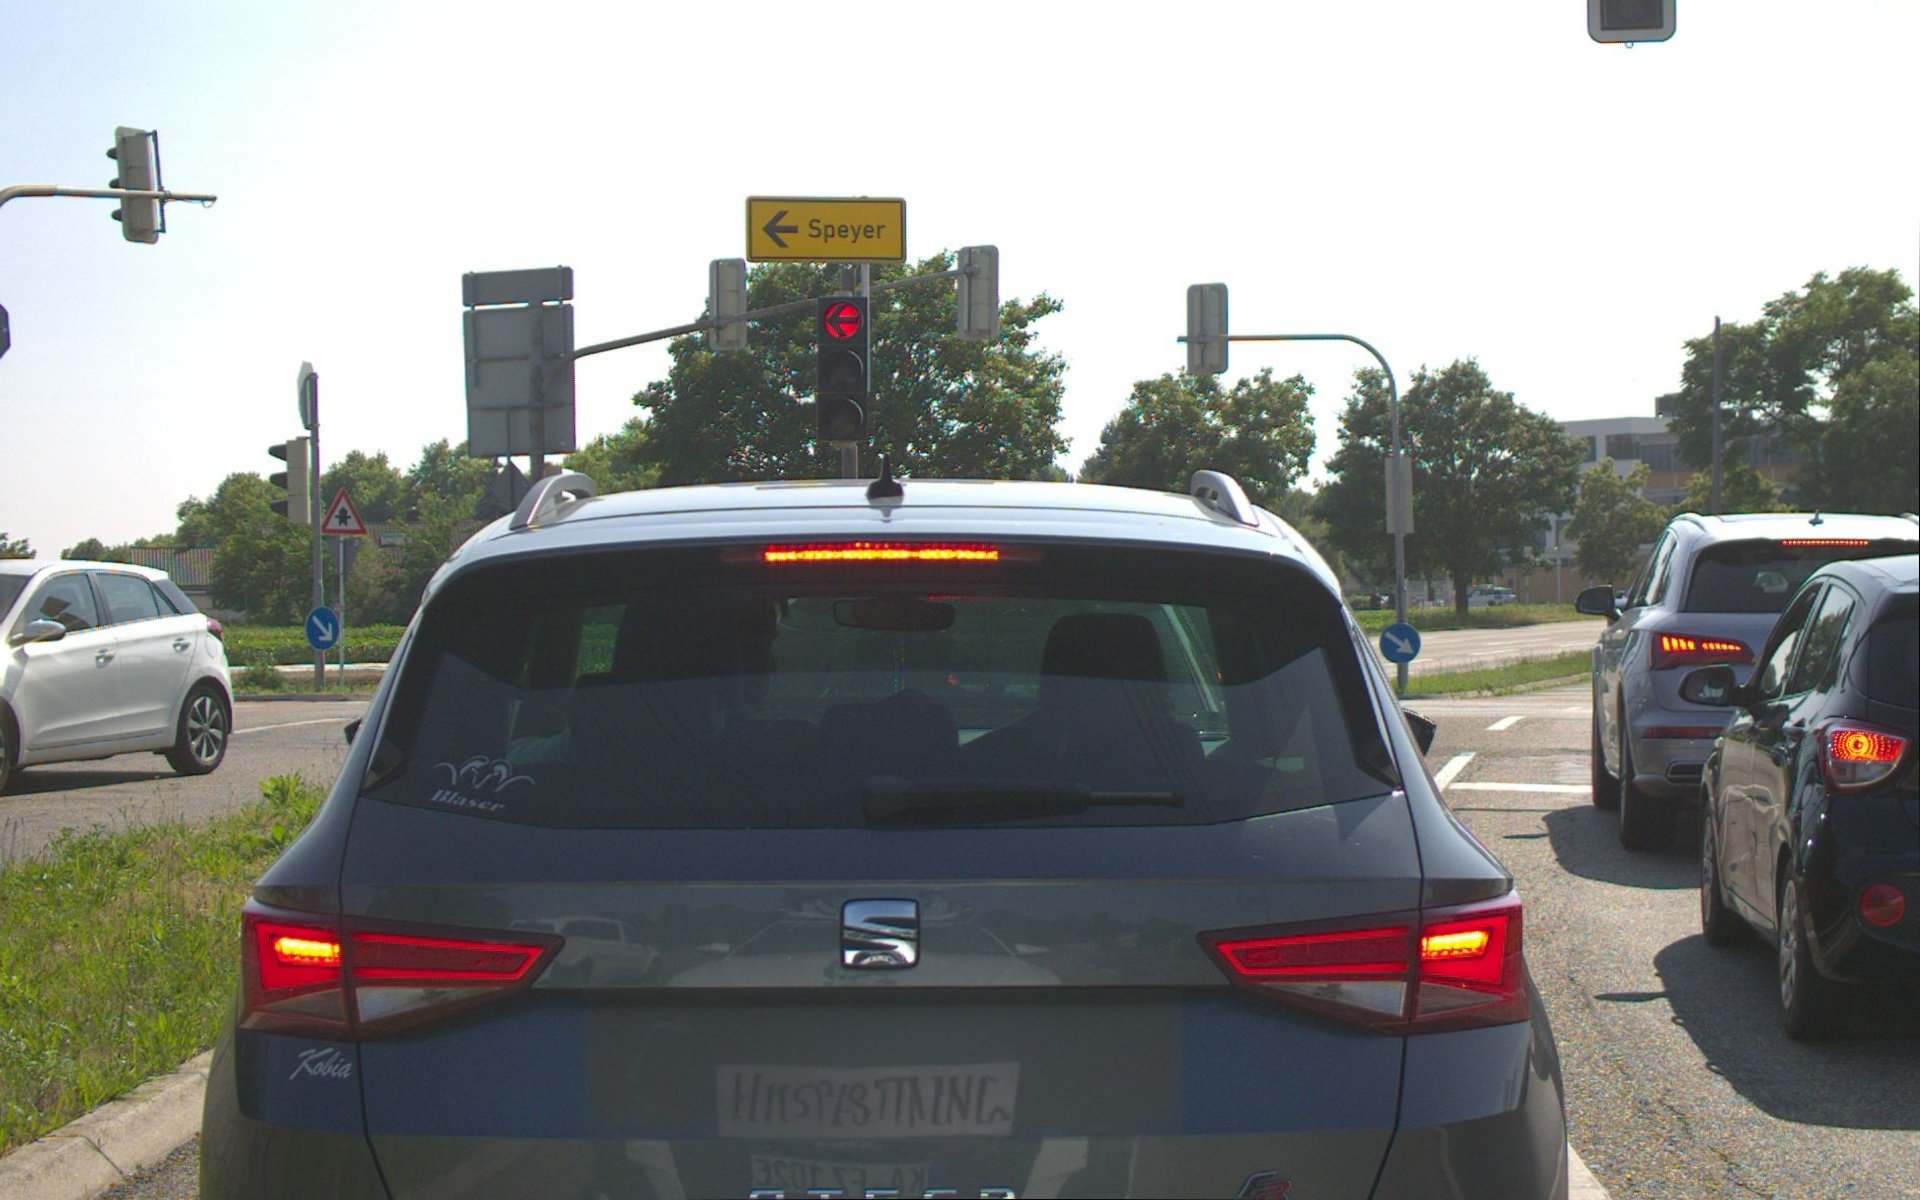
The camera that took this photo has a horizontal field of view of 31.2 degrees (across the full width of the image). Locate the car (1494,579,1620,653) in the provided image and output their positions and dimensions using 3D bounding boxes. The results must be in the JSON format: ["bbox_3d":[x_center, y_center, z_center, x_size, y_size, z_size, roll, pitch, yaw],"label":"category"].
[{"bbox_3d":[14.037,0.365,80.722,1.879,1.667,3.764,1,1,26],"label":"car"}]

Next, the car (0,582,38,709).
[{"bbox_3d":[-14.381,0.611,45.553,3.993,1.645,1.817,0,0,28],"label":"car"}]

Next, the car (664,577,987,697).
[{"bbox_3d":[-1.781,0.480,45.586,3.872,1.514,1.805,0,1,24],"label":"car"}]

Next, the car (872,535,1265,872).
[{"bbox_3d":[0.633,0.450,17.264,1.742,1.479,3.623,1,0,5],"label":"car"}]

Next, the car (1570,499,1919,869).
[{"bbox_3d":[4.080,0.364,17.560,1.633,1.671,3.749,1,1,6],"label":"car"}]

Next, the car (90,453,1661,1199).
[{"bbox_3d":[-0.121,0.618,5.657,1.742,1.563,3.624,1,0,-1],"label":"car"}]

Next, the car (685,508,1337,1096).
[{"bbox_3d":[0.149,0.533,11.143,1.742,1.563,3.624,1,0,0],"label":"car"}]

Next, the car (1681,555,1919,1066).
[{"bbox_3d":[3.379,0.583,11.332,1.633,1.443,3.294,1,1,6],"label":"car"}]

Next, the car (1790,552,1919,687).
[{"bbox_3d":[11.626,0.204,38.938,4.029,1.514,1.805,0,1,26],"label":"car"}]

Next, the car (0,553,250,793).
[{"bbox_3d":[-6.343,0.433,22.122,1.719,1.460,3.908,0,1,19],"label":"car"}]
